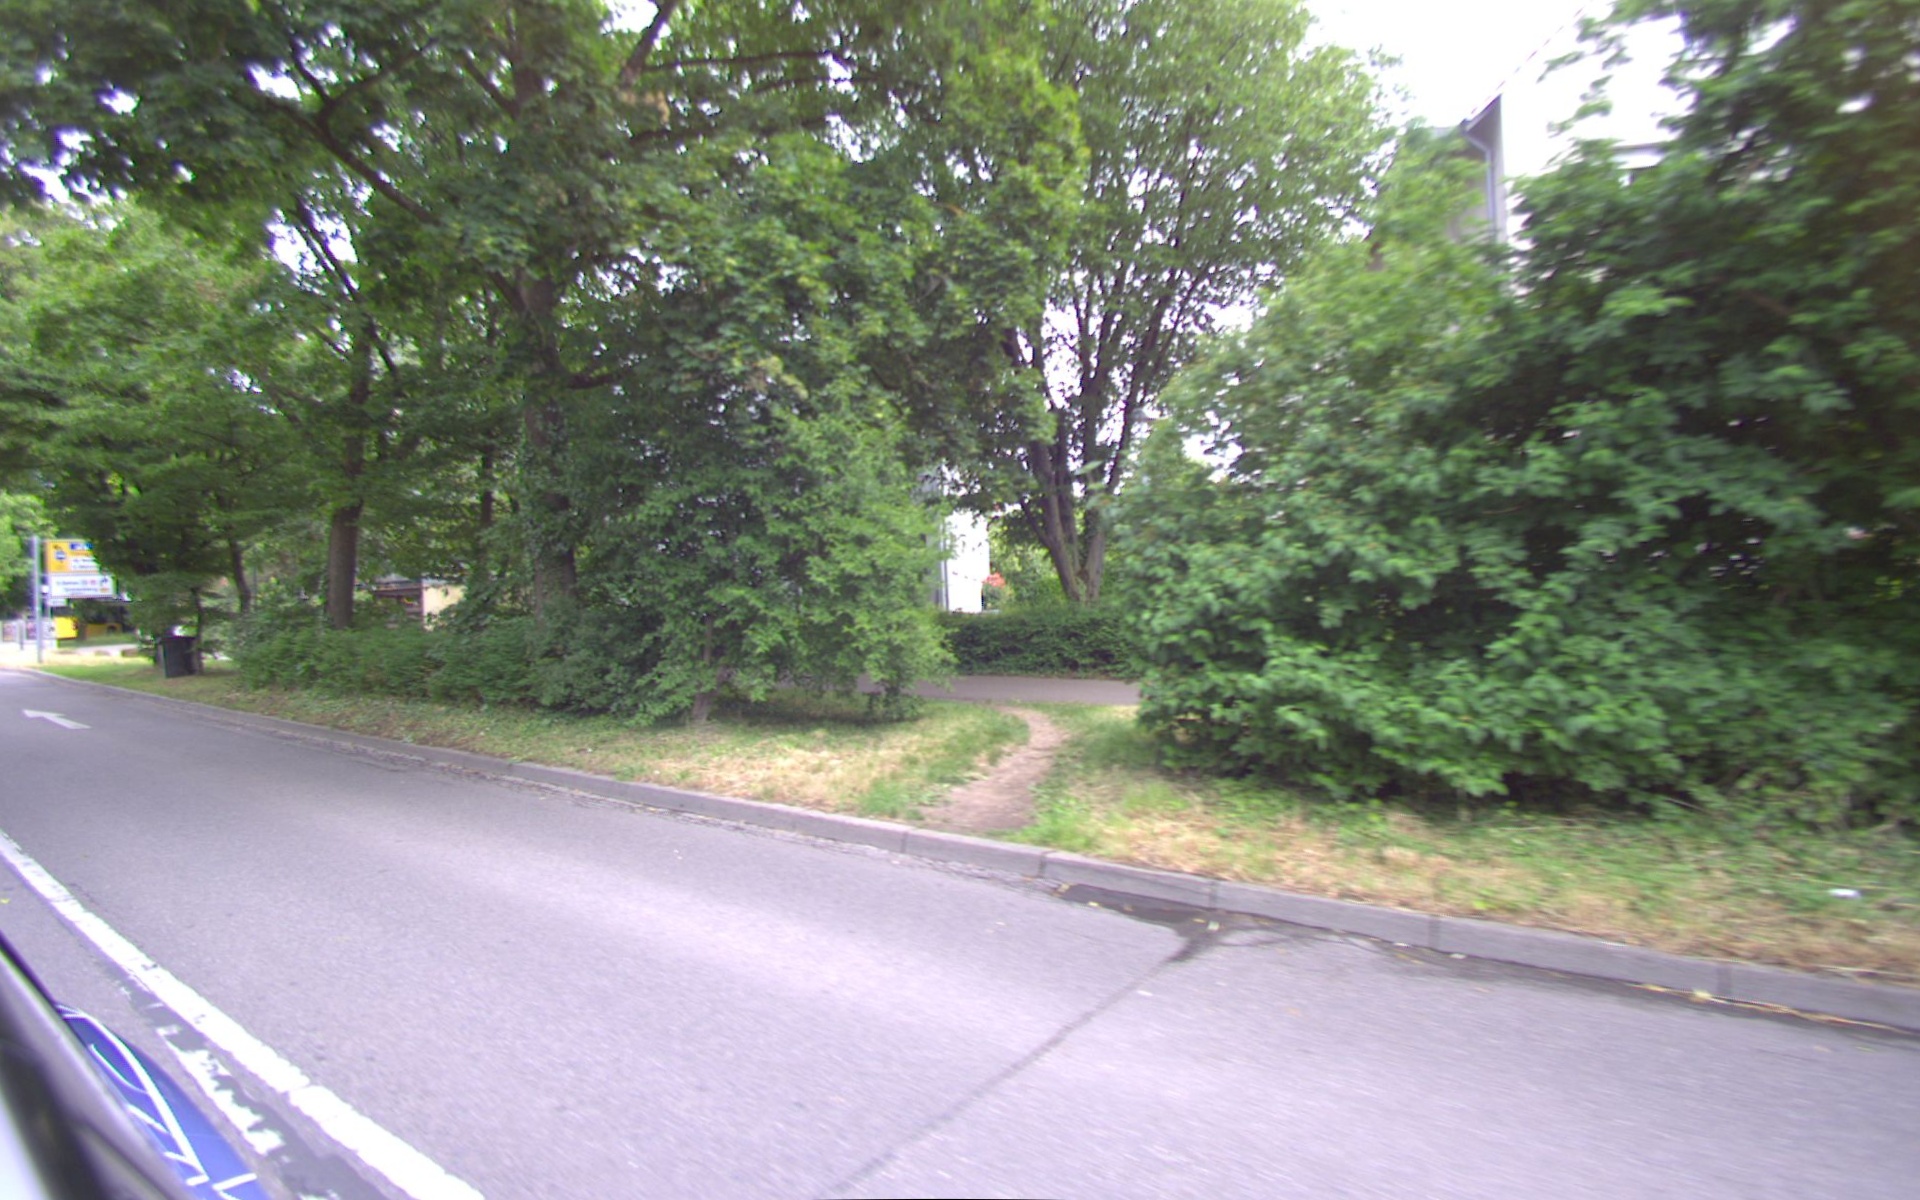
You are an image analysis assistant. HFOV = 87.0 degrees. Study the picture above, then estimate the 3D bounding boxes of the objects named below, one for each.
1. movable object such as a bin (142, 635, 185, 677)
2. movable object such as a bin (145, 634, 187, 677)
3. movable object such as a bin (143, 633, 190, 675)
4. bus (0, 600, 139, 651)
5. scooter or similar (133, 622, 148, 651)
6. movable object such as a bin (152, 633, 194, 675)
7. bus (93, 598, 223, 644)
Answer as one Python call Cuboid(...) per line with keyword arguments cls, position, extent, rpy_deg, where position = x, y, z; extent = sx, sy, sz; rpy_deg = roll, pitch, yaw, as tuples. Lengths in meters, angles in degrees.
Cuboid(cls="movable object such as a bin", position=(-17.426, 1.215, 22.161), extent=(0.590, 0.851, 0.580), rpy_deg=(-5, 2, -28))
Cuboid(cls="movable object such as a bin", position=(-17.729, 1.229, 22.602), extent=(0.590, 0.872, 0.580), rpy_deg=(-5, 2, -28))
Cuboid(cls="movable object such as a bin", position=(-18.478, 1.251, 23.579), extent=(0.718, 0.869, 0.624), rpy_deg=(-5, 2, -28))
Cuboid(cls="bus", position=(-61.981, 1.685, 70.536), extent=(3.007, 3.031, 8.440), rpy_deg=(-4, 1, -5))
Cuboid(cls="scooter or similar", position=(-43.266, 1.913, 53.422), extent=(0.547, 1.456, 1.595), rpy_deg=(-5, 2, -39))
Cuboid(cls="movable object such as a bin", position=(-18.006, 1.233, 23.152), extent=(0.610, 0.885, 0.595), rpy_deg=(-5, 2, -28))
Cuboid(cls="bus", position=(-62.773, 1.542, 79.571), extent=(3.007, 3.031, 9.708), rpy_deg=(-4, 1, -5))
